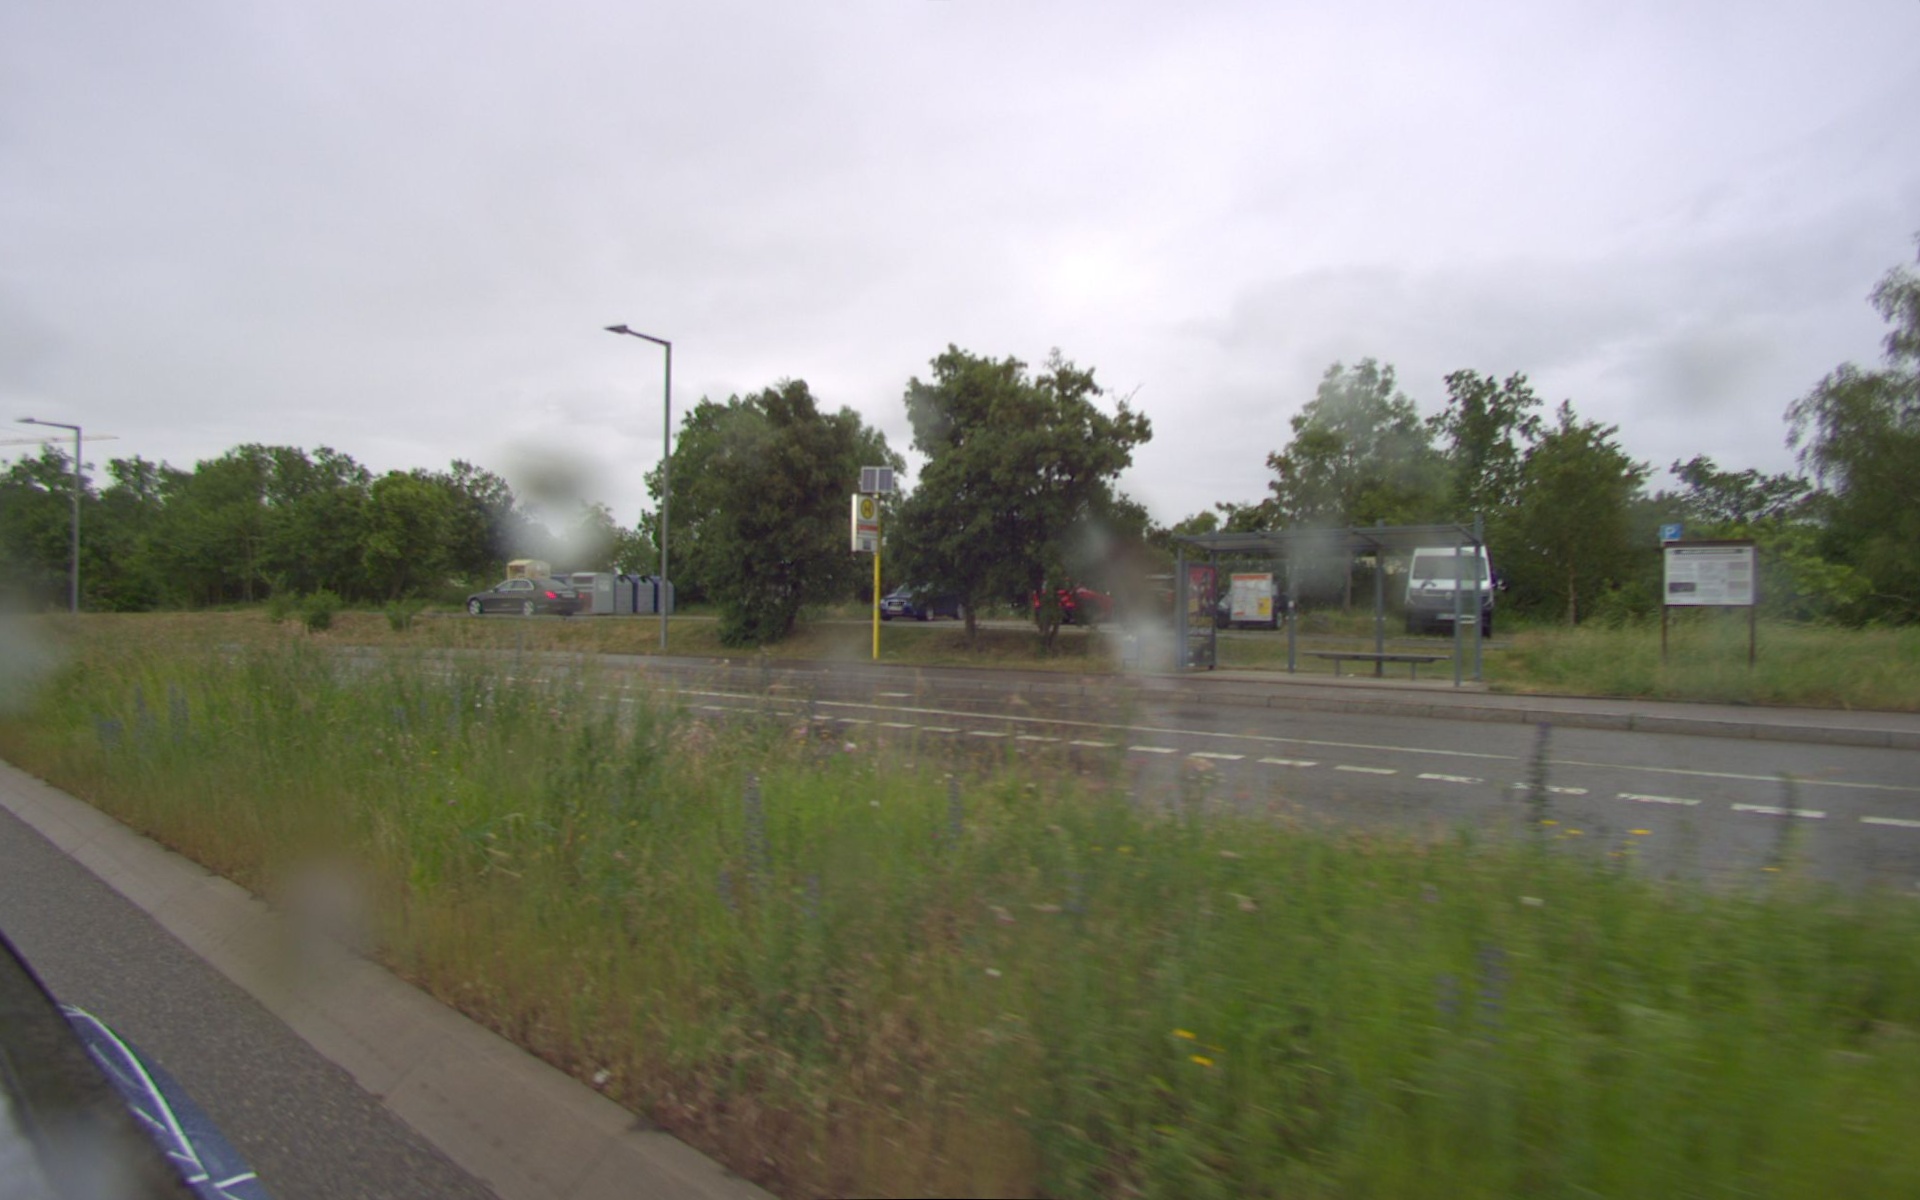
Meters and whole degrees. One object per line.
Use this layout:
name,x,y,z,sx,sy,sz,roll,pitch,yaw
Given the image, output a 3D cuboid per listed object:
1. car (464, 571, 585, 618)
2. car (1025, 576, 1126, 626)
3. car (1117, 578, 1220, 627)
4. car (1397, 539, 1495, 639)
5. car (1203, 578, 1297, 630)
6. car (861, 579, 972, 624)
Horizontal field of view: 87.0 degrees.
car,-16.171,-0.193,37.545,4.522,1.580,1.680,-2,1,29
car,3.779,0.068,32.547,1.840,1.480,3.959,0,-1,30
car,6.323,0.096,30.416,1.841,1.374,3.957,0,-1,31
car,13.341,-0.310,27.868,2.127,2.415,6.520,1,1,26
car,8.504,0.084,29.479,1.647,1.374,3.958,0,1,31
car,-1.402,0.020,34.430,1.893,1.374,3.957,0,1,31
